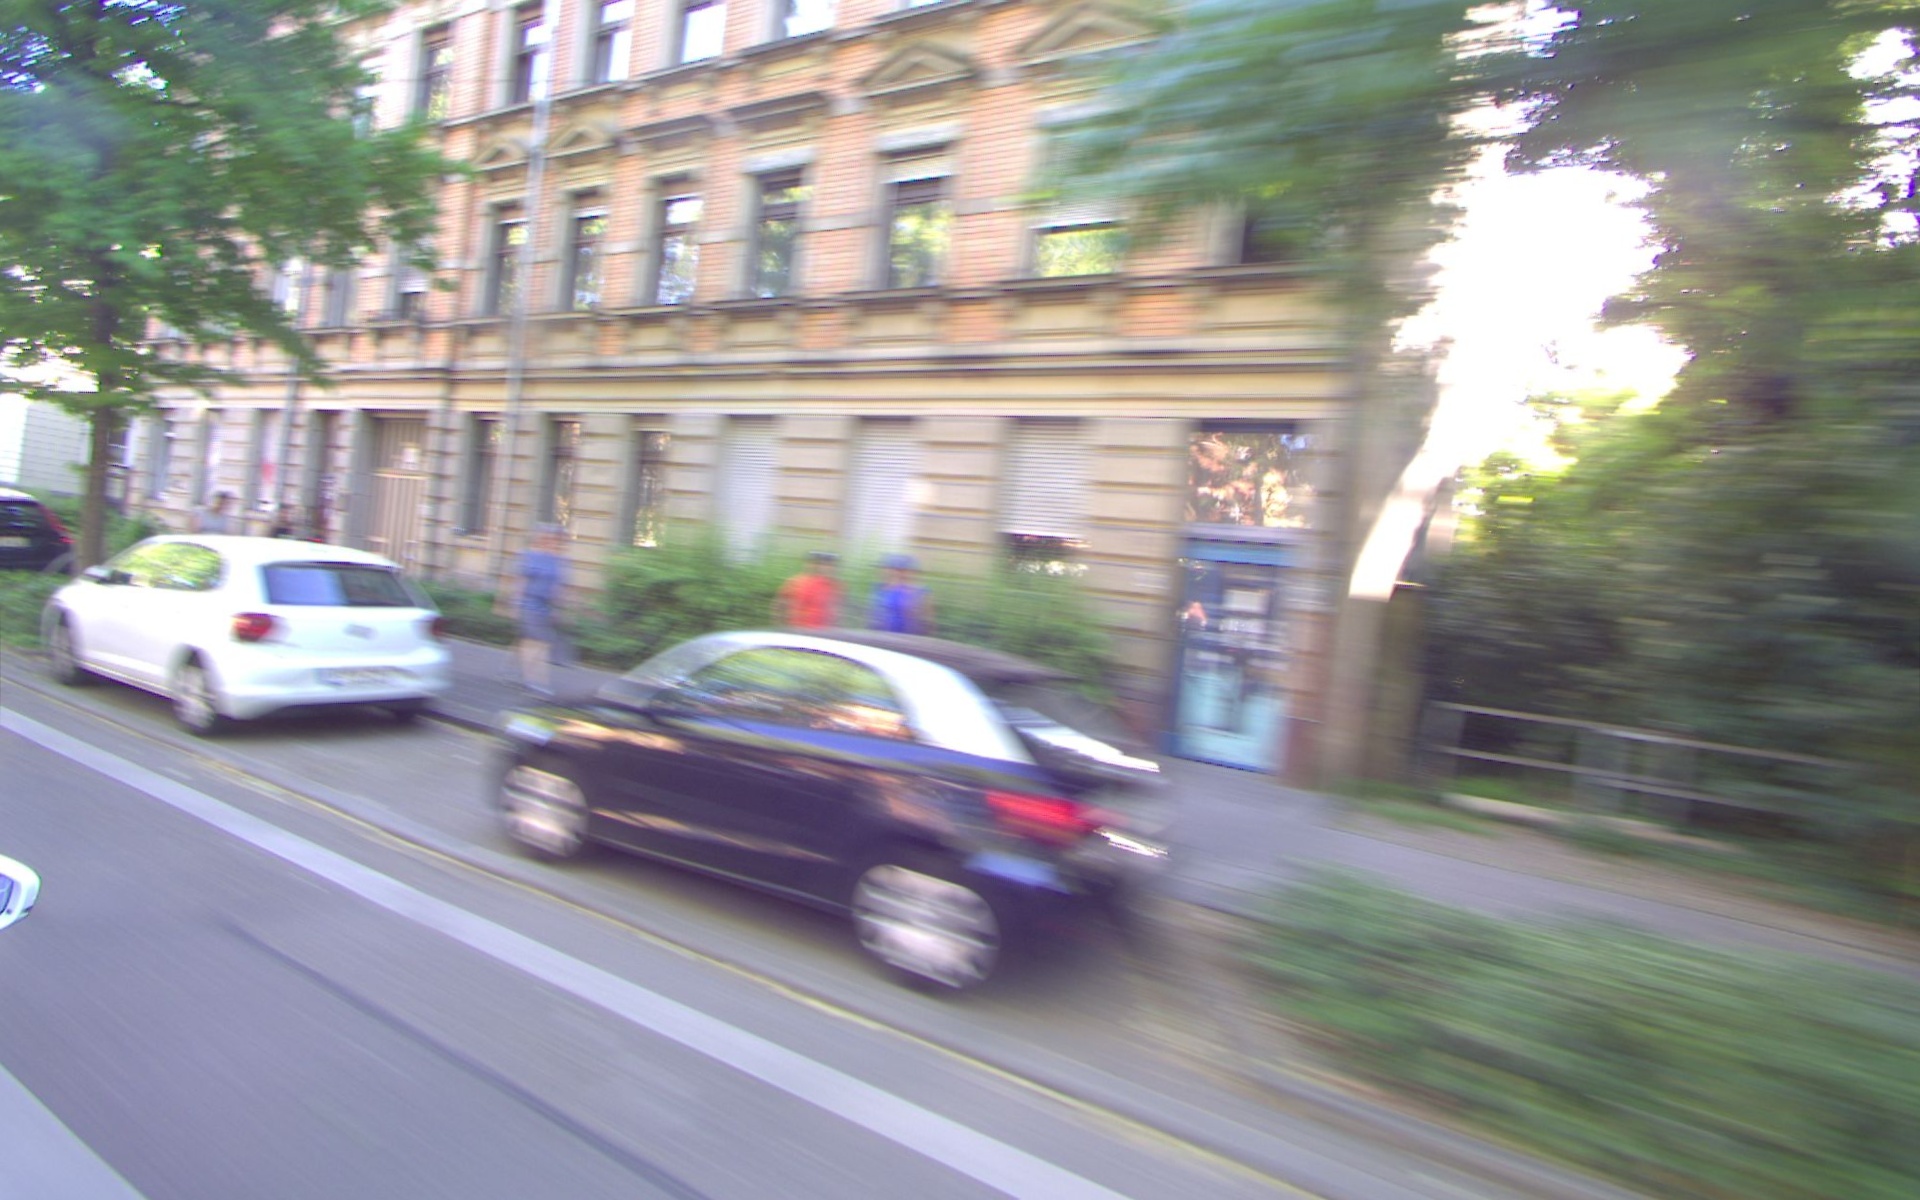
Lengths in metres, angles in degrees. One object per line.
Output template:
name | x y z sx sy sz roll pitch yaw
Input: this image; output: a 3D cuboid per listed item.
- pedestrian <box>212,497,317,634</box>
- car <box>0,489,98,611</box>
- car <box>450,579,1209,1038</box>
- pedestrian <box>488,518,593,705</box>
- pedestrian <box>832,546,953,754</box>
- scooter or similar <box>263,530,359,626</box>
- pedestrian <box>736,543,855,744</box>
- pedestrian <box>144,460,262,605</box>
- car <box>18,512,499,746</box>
pedestrian | -9.514 -0.460 13.770 0.841 1.730 0.727 7 0 28
car | -13.901 -0.836 13.643 4.515 1.486 1.885 7 2 29
car | -0.798 0.804 5.492 3.777 1.431 1.674 7 2 29
pedestrian | -4.333 0.123 10.386 0.721 1.814 0.595 7 0 -32
pedestrian | -0.628 0.464 9.397 0.716 1.814 0.600 7 0 28
scooter or similar | -9.627 -0.326 14.915 1.313 1.261 0.576 7 0 32
pedestrian | -1.574 0.423 9.672 0.591 1.814 0.727 7 0 33
pedestrian | -9.791 -0.867 13.018 0.940 1.713 0.728 7 0 26
car | -6.128 0.138 8.701 4.038 1.386 1.885 7 2 31
